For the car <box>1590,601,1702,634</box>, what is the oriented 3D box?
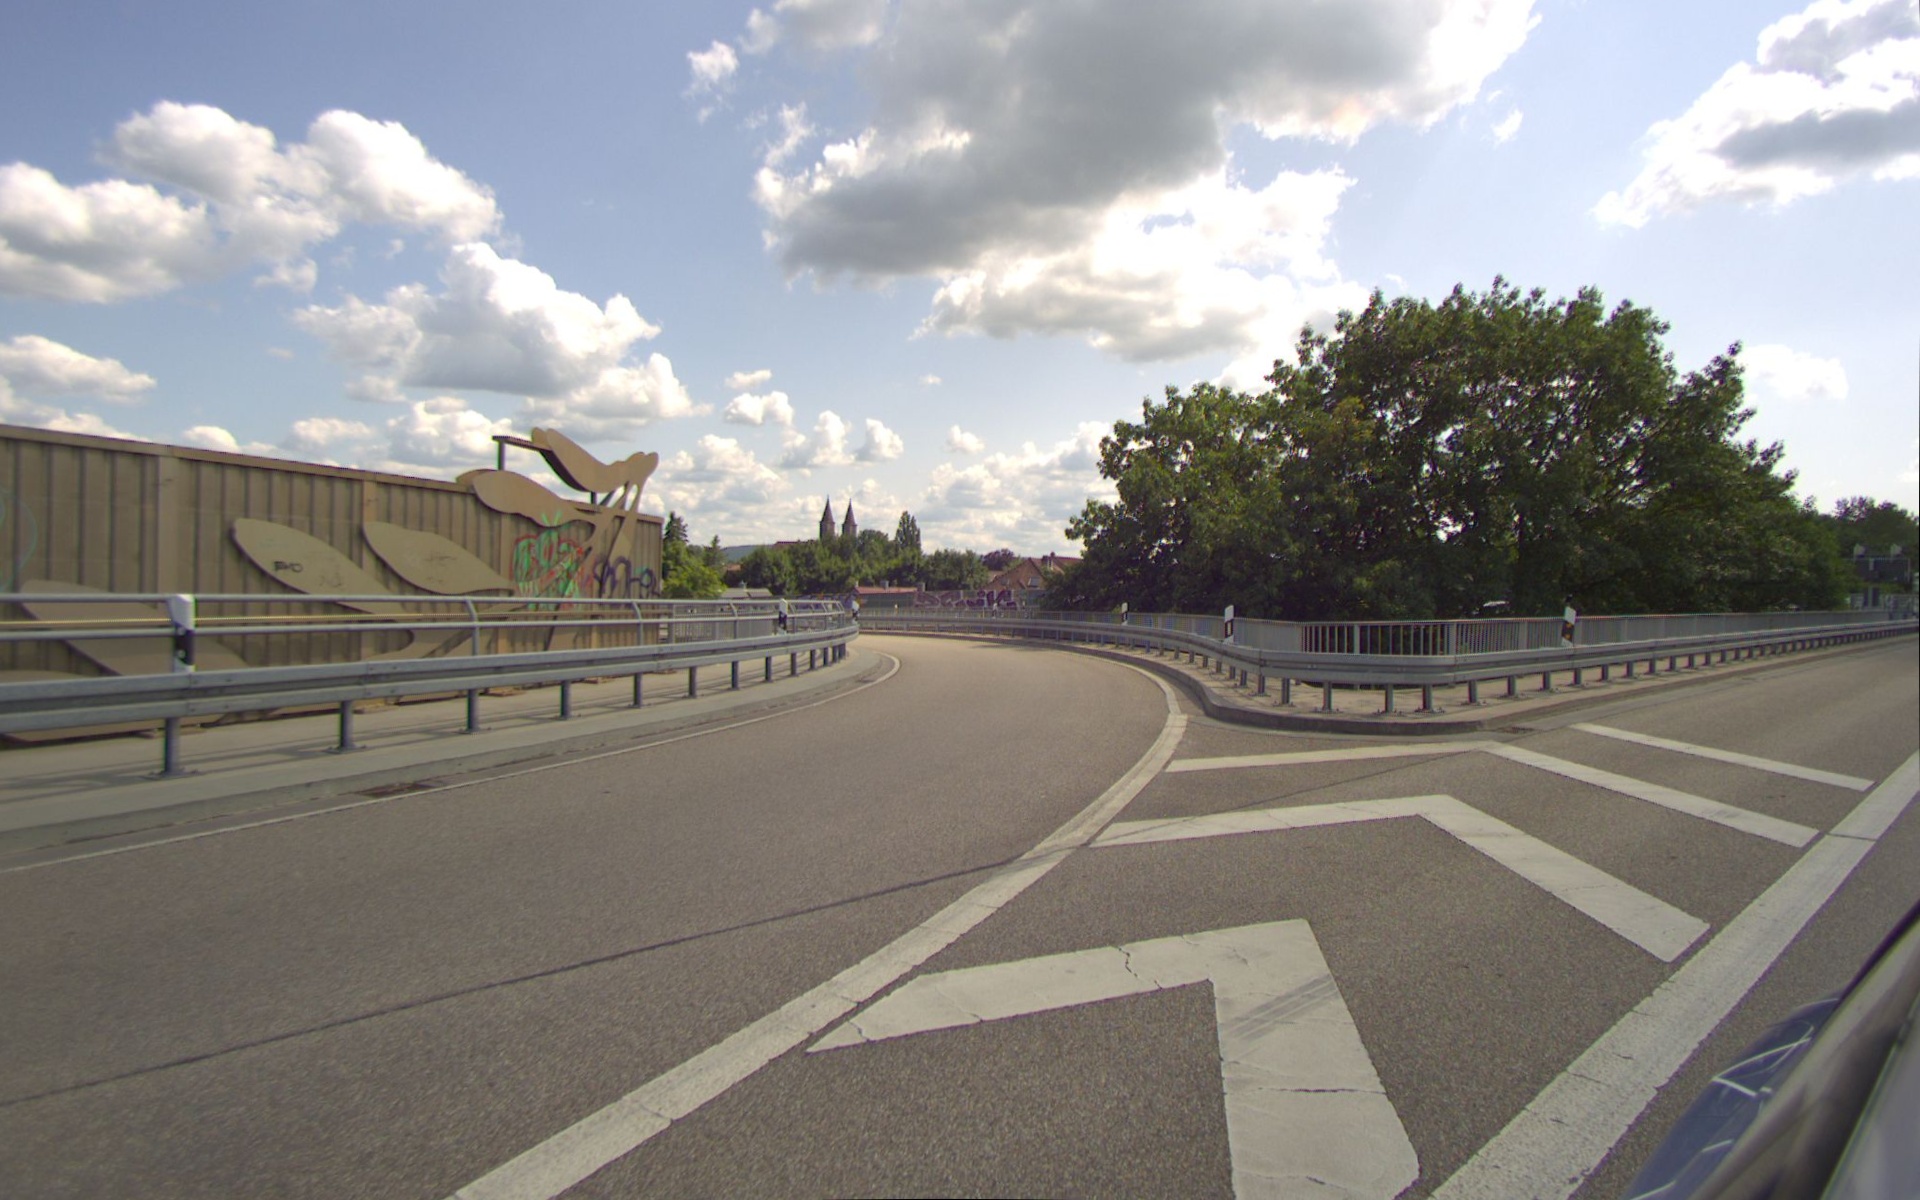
[{"bbox_3d":[30.338,0.768,44.852,3.708,1.430,1.765,0,0,9],"label":"car"}]
